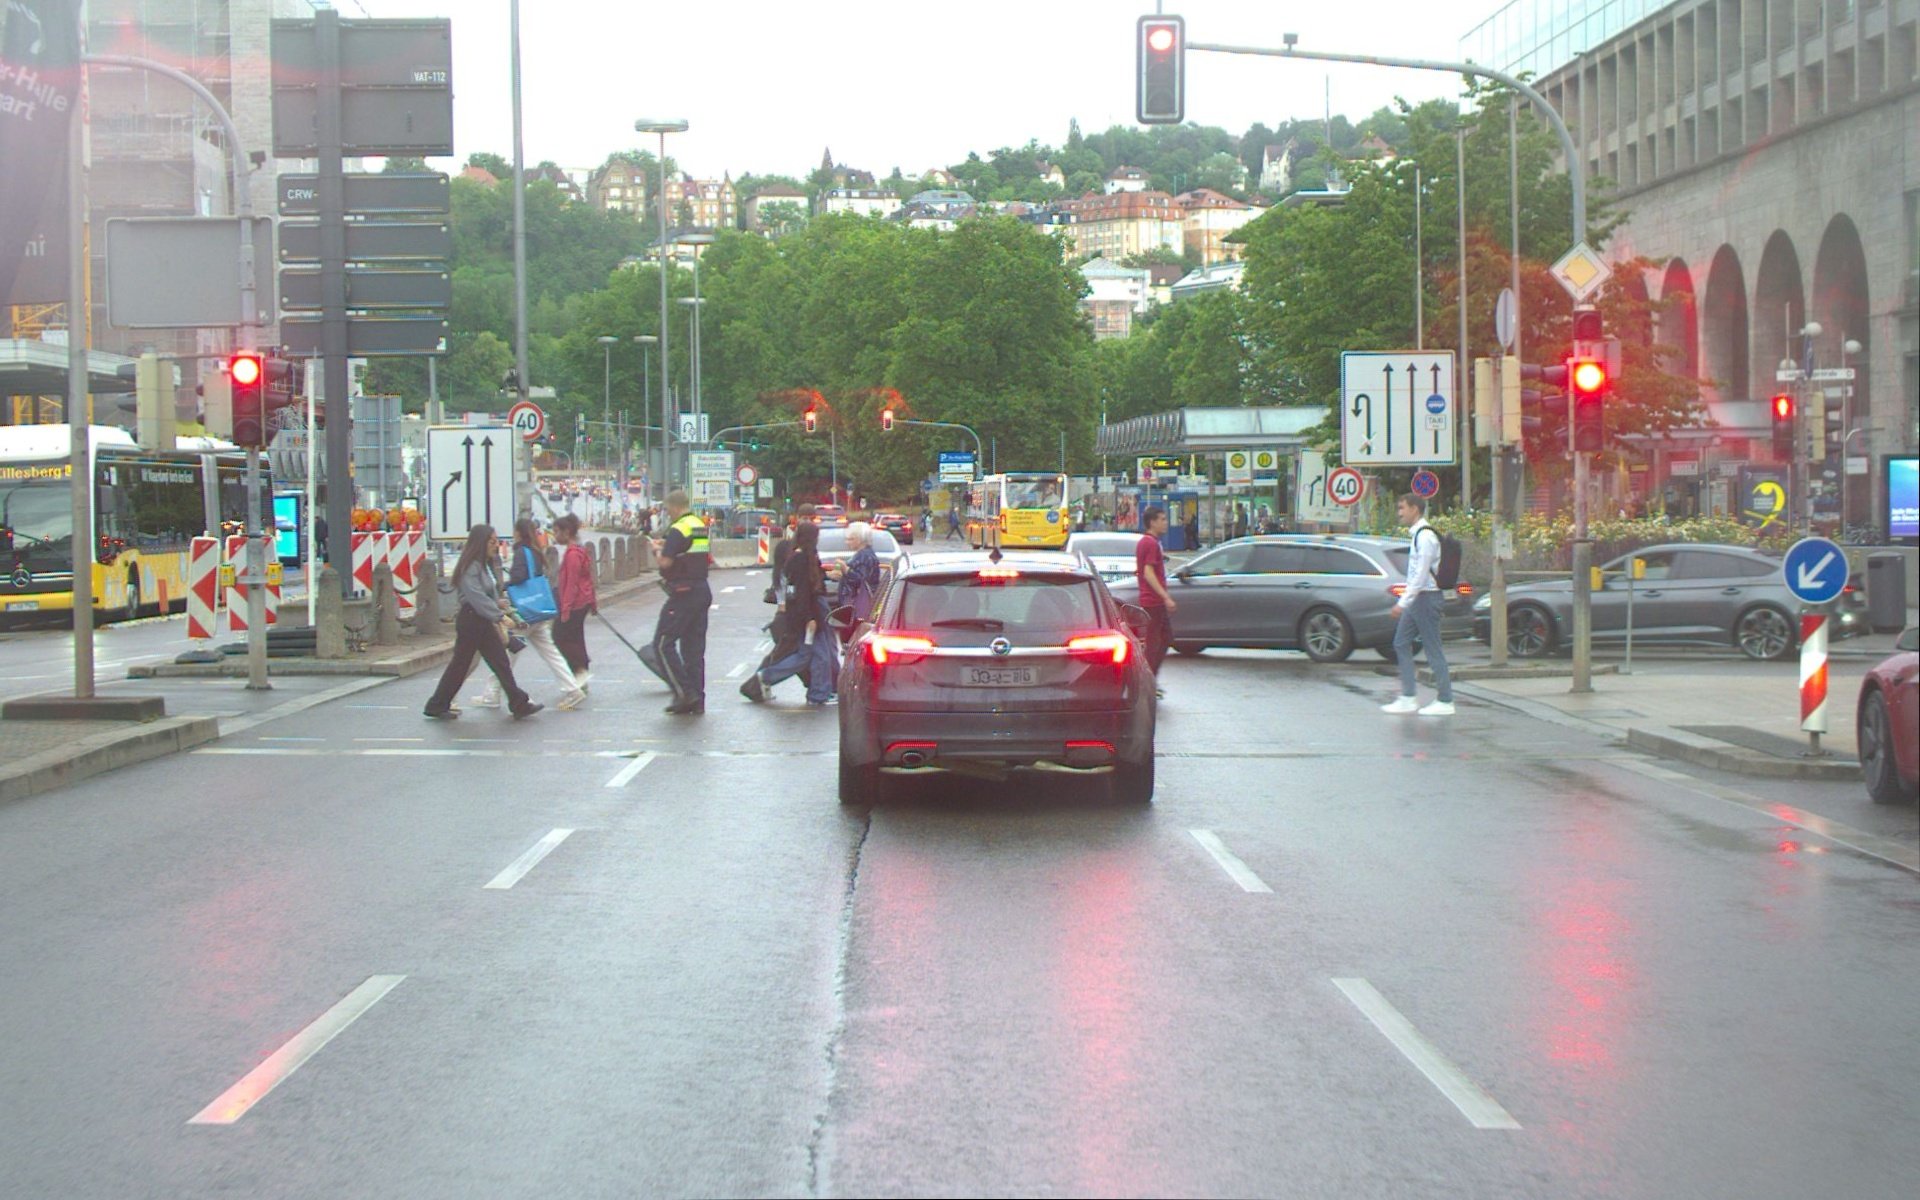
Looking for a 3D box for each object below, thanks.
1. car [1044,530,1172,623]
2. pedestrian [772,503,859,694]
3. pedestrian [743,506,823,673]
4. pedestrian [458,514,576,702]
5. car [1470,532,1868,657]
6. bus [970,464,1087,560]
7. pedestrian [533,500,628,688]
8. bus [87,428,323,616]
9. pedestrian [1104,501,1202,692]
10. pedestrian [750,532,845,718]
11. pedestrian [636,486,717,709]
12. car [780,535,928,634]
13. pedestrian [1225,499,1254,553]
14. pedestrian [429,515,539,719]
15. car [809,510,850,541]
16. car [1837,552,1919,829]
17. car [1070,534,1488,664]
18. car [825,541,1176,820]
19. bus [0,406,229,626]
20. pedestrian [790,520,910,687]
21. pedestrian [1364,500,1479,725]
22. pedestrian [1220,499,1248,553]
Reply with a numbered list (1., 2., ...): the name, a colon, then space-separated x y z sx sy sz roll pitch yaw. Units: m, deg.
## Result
1. car: 2.310 -0.379 54.582 1.845 1.393 3.564 1 1 0
2. pedestrian: -1.313 -0.014 31.141 0.755 1.712 0.466 1 1 -3
3. pedestrian: -1.578 -0.092 30.647 0.678 1.469 0.366 1 1 -5
4. pedestrian: -3.757 0.062 29.208 0.915 1.558 0.900 1 1 -4
5. car: 8.491 -0.084 41.194 4.393 1.393 1.757 1 1 23
6. bus: 2.531 -3.320 133.819 4.173 3.457 14.655 1 1 0
7. pedestrian: -3.537 -0.059 32.077 0.799 1.711 0.620 -2 1 -3
8. bus: -15.546 -1.570 71.606 2.668 3.589 10.212 1 1 0
9. pedestrian: 1.781 -0.037 31.716 0.570 1.746 0.679 1 1 43
10. pedestrian: -1.427 0.216 30.118 0.799 1.603 0.620 1 1 -3
11. pedestrian: -2.363 -0.023 28.705 0.578 1.829 0.820 1 1 0
12. car: -1.631 -0.255 51.400 1.752 1.393 4.539 1 1 -8
13. pedestrian: 8.695 -2.304 107.108 0.763 1.684 0.825 1 1 -4
14. pedestrian: -3.856 0.128 27.910 0.793 1.620 0.900 1 1 -4
15. car: -6.060 -3.455 159.372 1.759 1.393 3.564 1 1 0
16. car: 6.081 0.506 17.764 1.874 1.481 4.527 1 1 -1
17. car: 3.697 -0.036 40.102 4.531 1.393 1.756 1 1 32
18. car: 0.194 0.413 20.604 1.874 1.481 4.000 1 1 -1
19. bus: -15.491 -1.444 61.420 2.668 3.589 10.239 1 1 0
20. pedestrian: -1.042 0.029 32.638 0.785 1.555 0.874 1 1 28
21. pedestrian: 3.905 0.103 29.143 0.798 1.884 0.620 1 1 -8
22. pedestrian: 8.615 -2.324 108.103 0.763 1.684 0.825 1 1 -4
